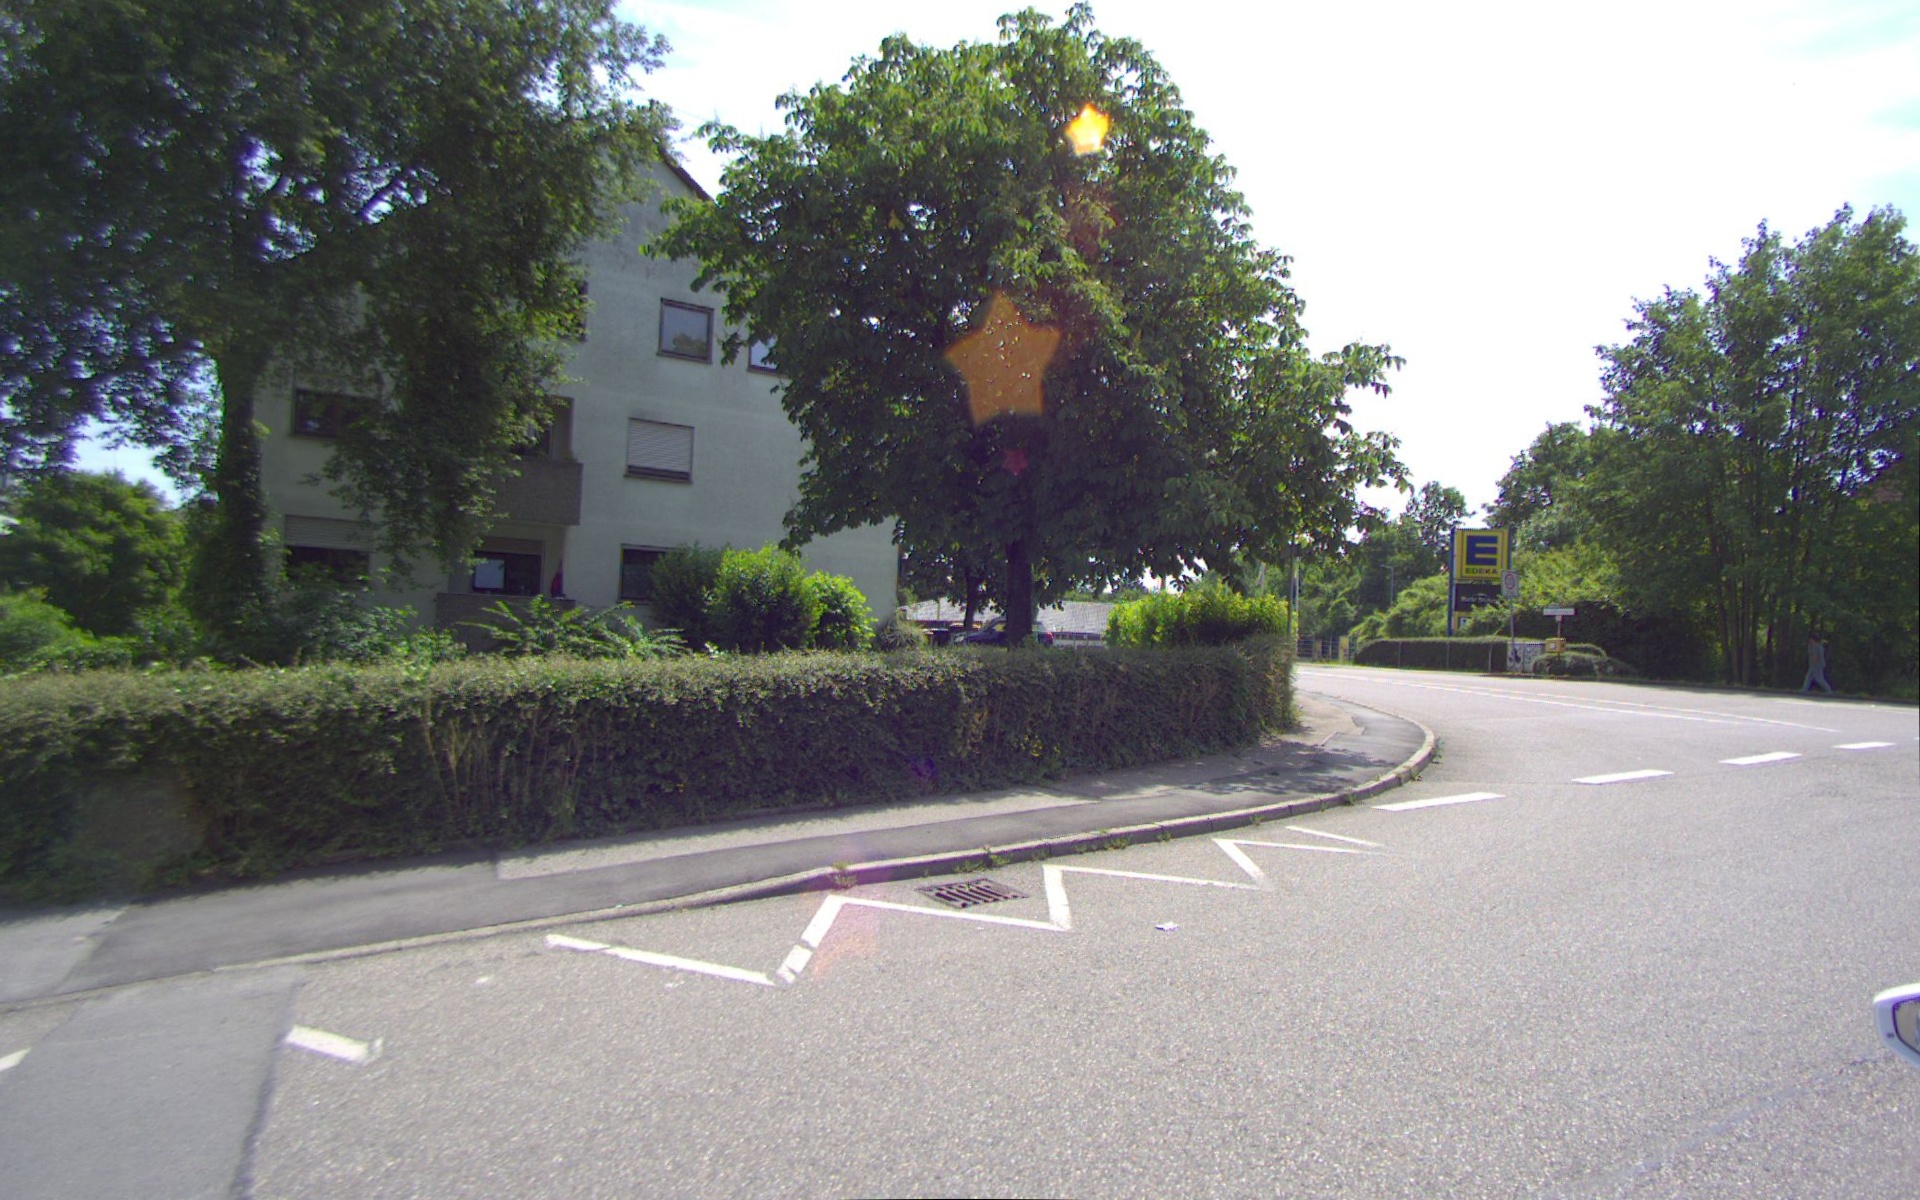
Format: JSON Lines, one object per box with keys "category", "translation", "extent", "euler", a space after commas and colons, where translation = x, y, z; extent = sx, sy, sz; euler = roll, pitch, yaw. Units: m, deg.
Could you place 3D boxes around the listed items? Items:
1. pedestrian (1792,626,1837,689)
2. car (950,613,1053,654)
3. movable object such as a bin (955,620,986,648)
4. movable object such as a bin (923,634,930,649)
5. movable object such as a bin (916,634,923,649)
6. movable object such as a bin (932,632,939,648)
{"category": "pedestrian", "translation": [25.313, 1.703, 29.771], "extent": [0.678, 1.800, 0.736], "euler": [2, -3, -12]}
{"category": "car", "translation": [1.535, 1.258, 37.512], "extent": [3.545, 1.380, 1.394], "euler": [2, -1, -13]}
{"category": "movable object such as a bin", "translation": [0.543, 1.737, 51.485], "extent": [1.485, 1.405, 2.209], "euler": [0, -2, 2]}
{"category": "movable object such as a bin", "translation": [-1.636, 2.028, 49.398], "extent": [0.232, 0.738, 0.230], "euler": [2, -1, 22]}
{"category": "movable object such as a bin", "translation": [-2.067, 2.111, 51.177], "extent": [0.233, 0.738, 0.229], "euler": [1, -1, 44]}
{"category": "movable object such as a bin", "translation": [-1.267, 2.080, 51.841], "extent": [0.233, 0.815, 0.229], "euler": [1, -1, 44]}
